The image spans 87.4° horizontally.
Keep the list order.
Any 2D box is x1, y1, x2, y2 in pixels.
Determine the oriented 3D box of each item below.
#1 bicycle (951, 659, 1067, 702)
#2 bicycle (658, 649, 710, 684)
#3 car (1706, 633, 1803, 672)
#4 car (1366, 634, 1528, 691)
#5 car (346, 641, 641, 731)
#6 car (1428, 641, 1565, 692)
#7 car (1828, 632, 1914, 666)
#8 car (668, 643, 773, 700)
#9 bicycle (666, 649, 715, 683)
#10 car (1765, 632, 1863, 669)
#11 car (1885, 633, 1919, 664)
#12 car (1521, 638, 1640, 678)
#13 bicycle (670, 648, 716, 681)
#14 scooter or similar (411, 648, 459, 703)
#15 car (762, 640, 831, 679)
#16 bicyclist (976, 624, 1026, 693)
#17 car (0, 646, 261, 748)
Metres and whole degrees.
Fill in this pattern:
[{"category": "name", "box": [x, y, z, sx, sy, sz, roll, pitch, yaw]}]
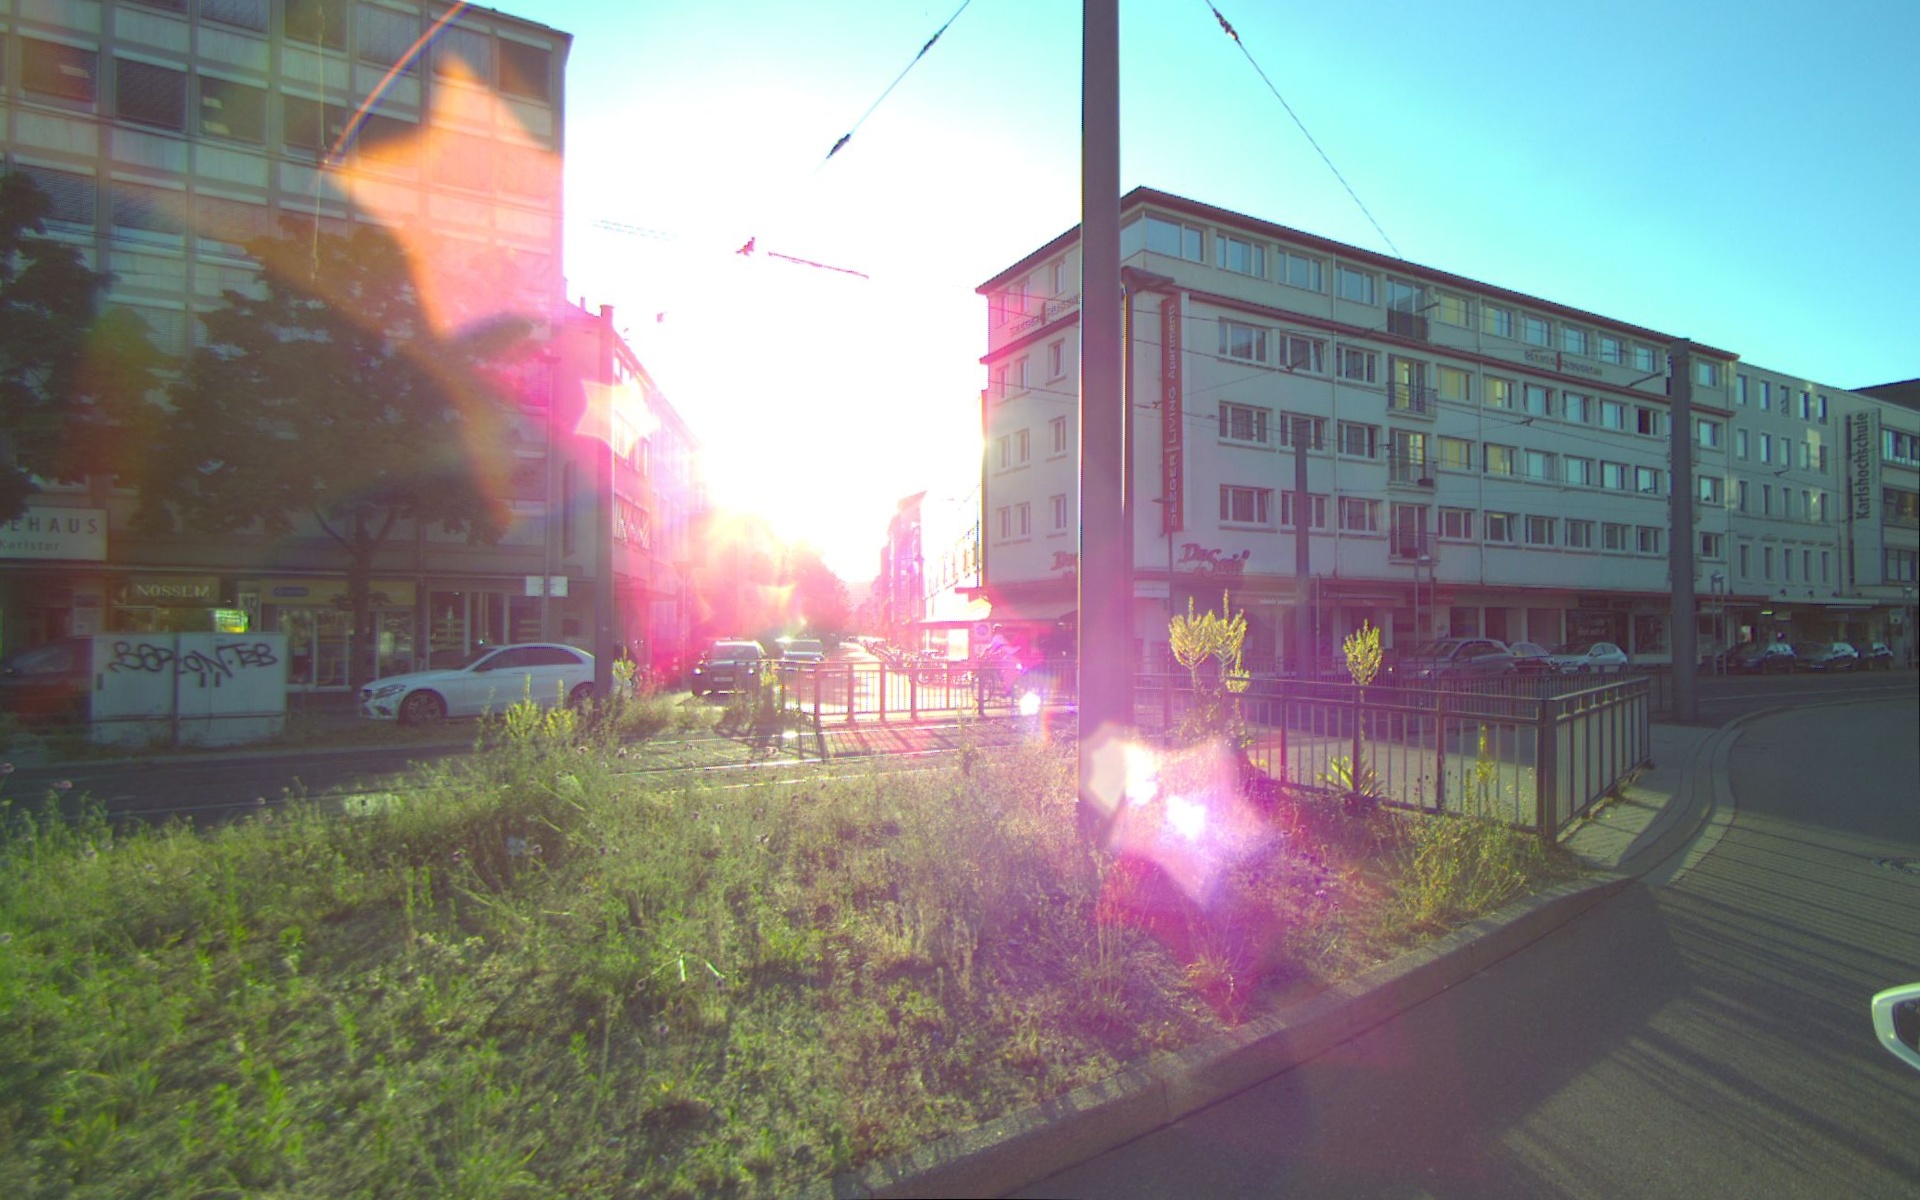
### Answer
[{"category": "bicycle", "box": [1.066, 1.713, 21.655, 2.374, 0.858, 0.847, 0, -2, 15]}, {"category": "bicycle", "box": [-10.078, 2.415, 36.667, 1.750, 1.201, 0.553, 3, -3, -13]}, {"category": "car", "box": [36.289, 2.376, 45.894, 3.948, 1.687, 1.987, 1, -2, -27]}, {"category": "car", "box": [14.490, 1.817, 29.876, 4.222, 1.580, 2.192, 1, -2, -25]}, {"category": "car", "box": [-8.572, 1.494, 18.718, 4.626, 1.460, 2.016, 2, -3, -42]}, {"category": "car", "box": [19.330, 2.346, 36.179, 4.777, 1.687, 1.987, 1, -2, -27]}, {"category": "car", "box": [47.072, 2.503, 51.923, 3.948, 1.687, 1.987, 1, -2, -27]}, {"category": "car", "box": [-6.836, 1.944, 28.359, 1.717, 1.454, 4.338, 1, -2, -30]}, {"category": "bicycle", "box": [-10.111, 2.488, 37.743, 1.688, 1.201, 0.538, 3, -3, -13]}, {"category": "car", "box": [41.527, 2.430, 48.831, 4.578, 1.687, 1.987, 1, -2, -27]}, {"category": "car", "box": [54.392, 2.730, 56.660, 3.948, 1.687, 1.987, 1, -2, -27]}, {"category": "car", "box": [24.166, 2.223, 39.126, 4.344, 1.484, 1.987, 1, -2, -27]}, {"category": "bicycle", "box": [-10.334, 2.497, 38.934, 1.658, 1.201, 0.485, 3, -3, -13]}, {"category": "scooter or similar", "box": [-13.266, 1.898, 25.414, 0.504, 1.339, 1.281, 0, -2, 1]}, {"category": "car", "box": [-7.241, 2.563, 44.118, 1.861, 1.594, 4.223, 1, -2, -26]}, {"category": "bicyclist", "box": [0.892, 1.250, 21.717, 0.912, 1.460, 0.836, 0, -2, 16]}, {"category": "car", "box": [-14.826, 1.606, 17.406, 4.253, 1.594, 1.984, 1, -2, -31]}]
